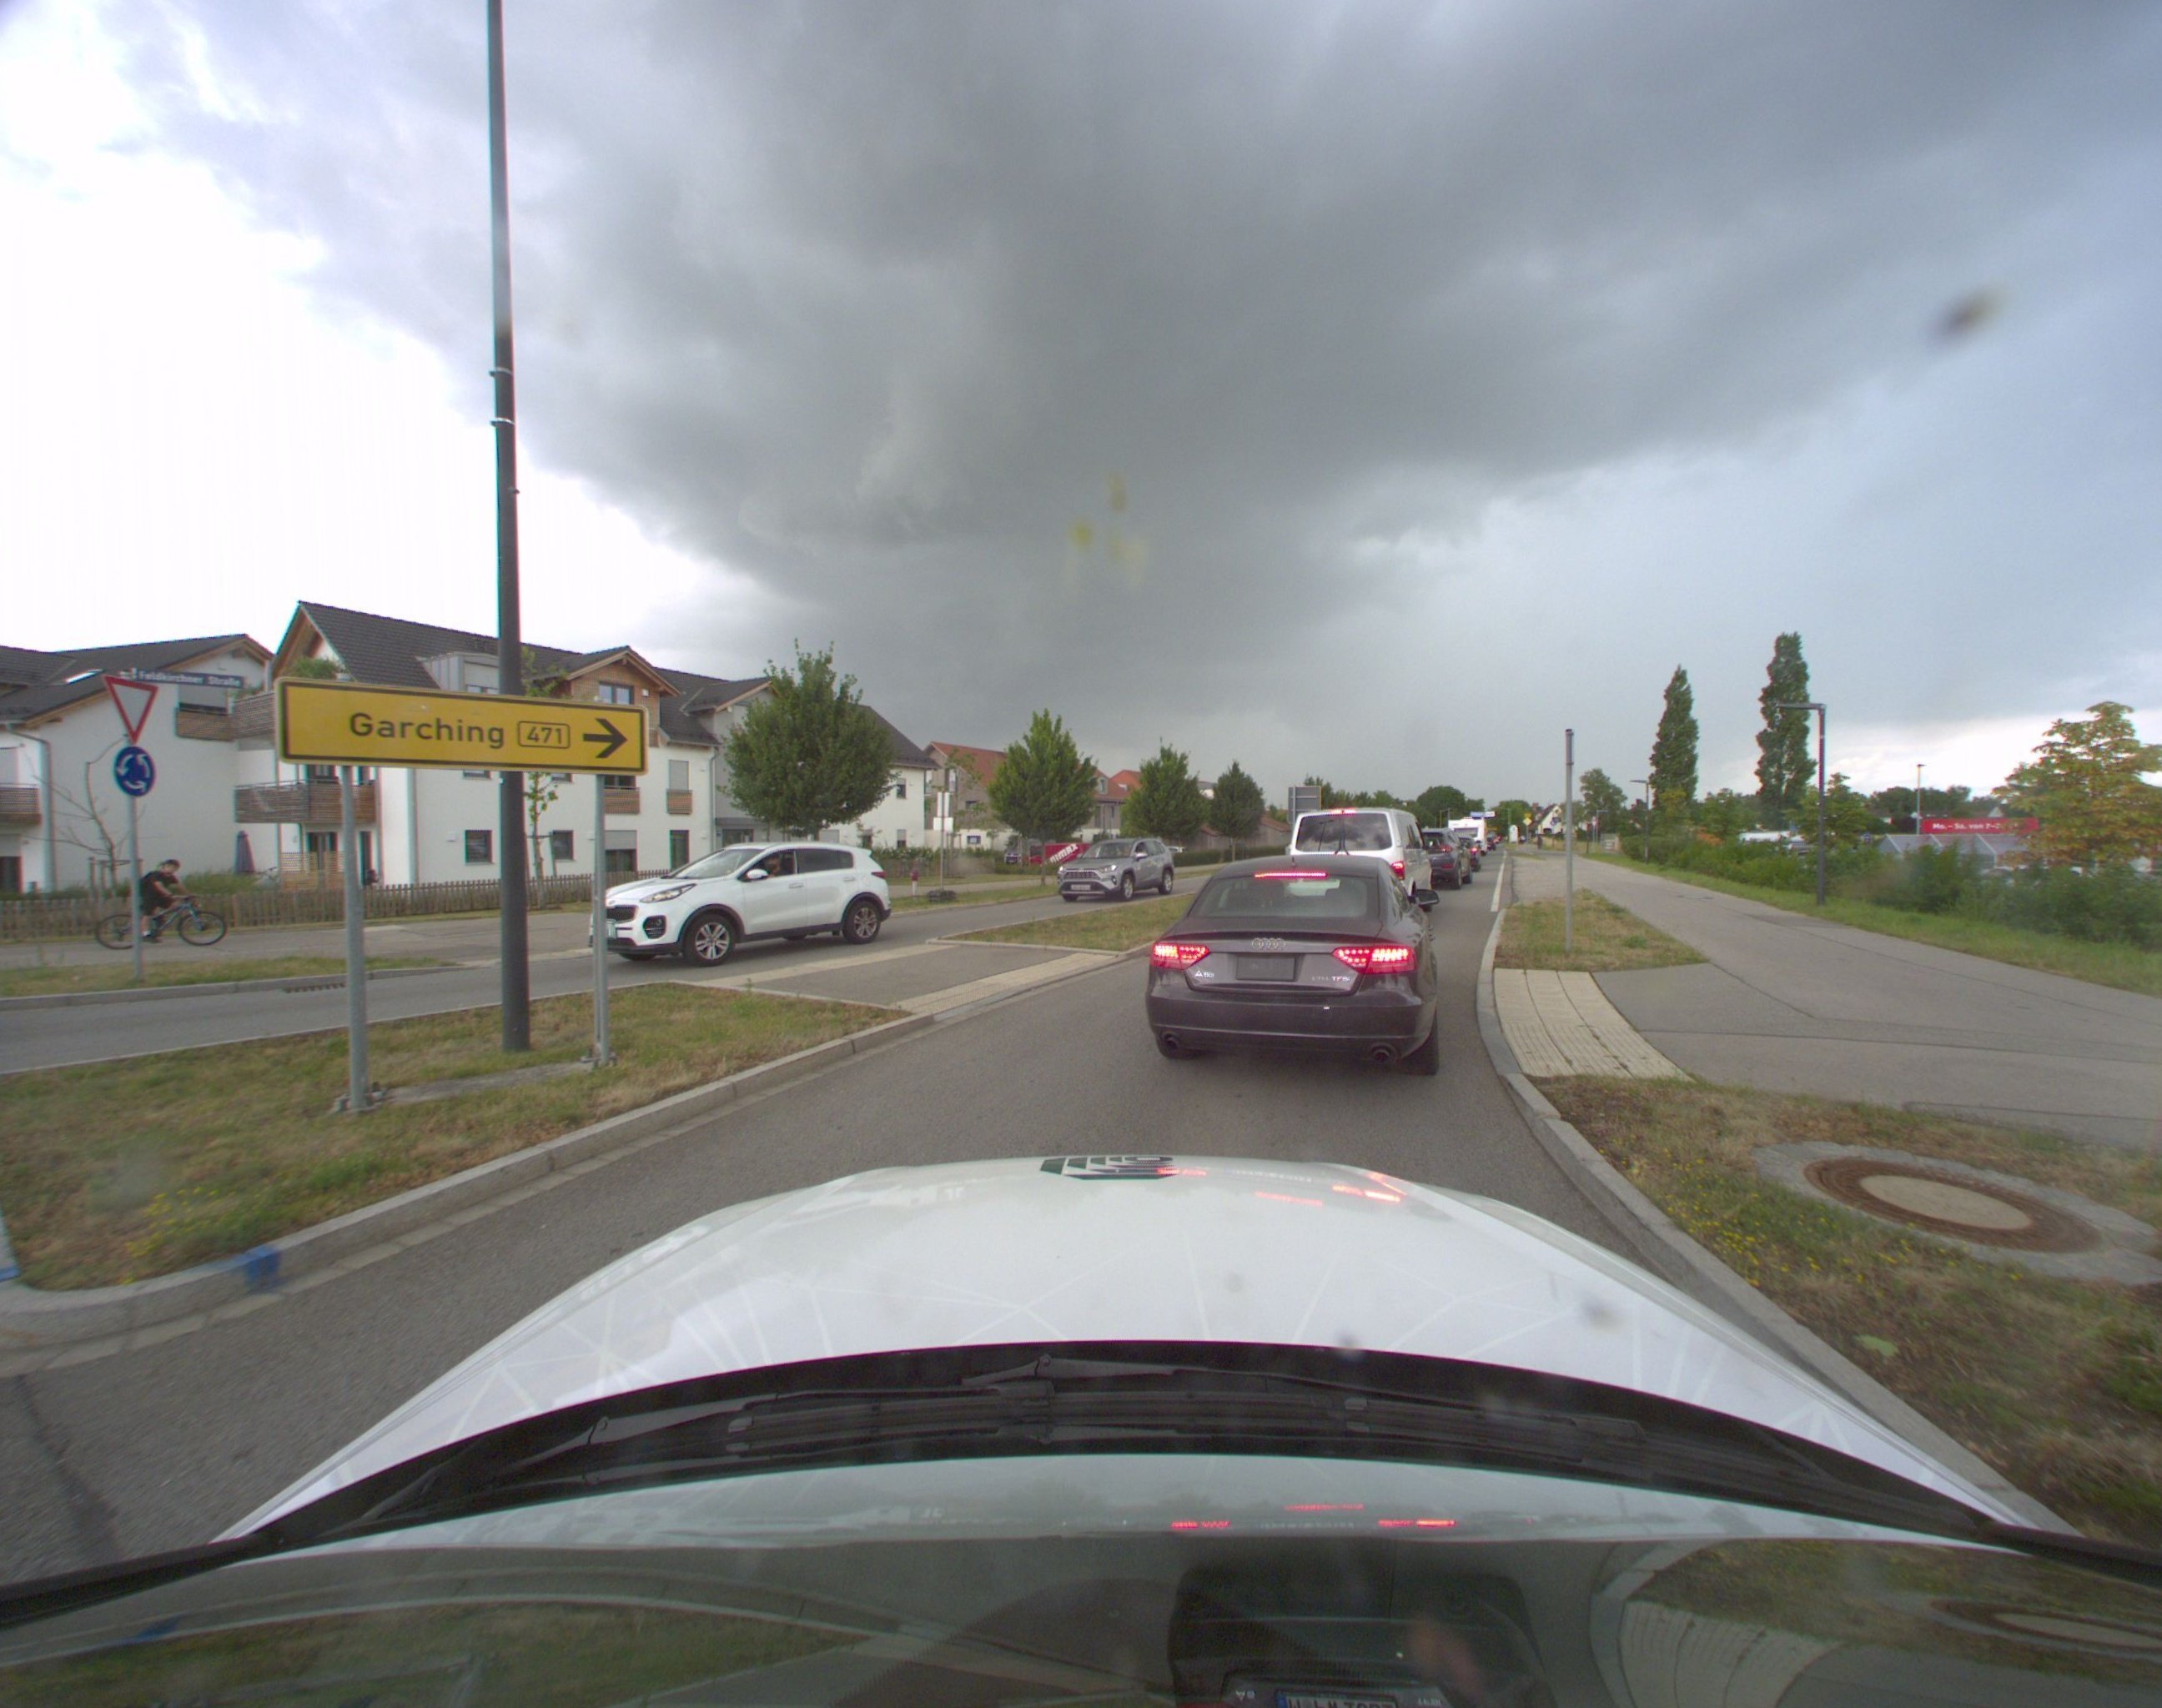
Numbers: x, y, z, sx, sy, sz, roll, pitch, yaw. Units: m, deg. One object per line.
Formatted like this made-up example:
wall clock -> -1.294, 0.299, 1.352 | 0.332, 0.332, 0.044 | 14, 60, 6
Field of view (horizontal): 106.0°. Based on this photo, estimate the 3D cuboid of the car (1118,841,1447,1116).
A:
car -> 1.889, 0.621, 6.421 | 1.768, 1.391, 4.156 | -1, 1, 24

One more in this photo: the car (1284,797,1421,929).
car -> 4.848, 0.092, 14.162 | 1.850, 1.934, 4.023 | 0, 1, 24

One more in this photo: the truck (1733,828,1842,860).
truck -> 44.066, -0.649, 50.924 | 4.754, 1.872, 2.011 | 1, 1, 23

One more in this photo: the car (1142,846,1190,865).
car -> 7.162, 0.092, 68.543 | 3.696, 1.481, 1.696 | 0, 1, 25

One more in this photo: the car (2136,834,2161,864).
car -> 75.120, -0.376, 55.973 | 1.974, 2.013, 4.026 | 0, 1, 34

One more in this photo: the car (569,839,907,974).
car -> -4.840, 0.614, 12.217 | 1.692, 1.626, 4.479 | -1, 1, 32

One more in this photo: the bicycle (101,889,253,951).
bicycle -> -15.997, 1.151, 14.465 | 1.718, 0.946, 0.493 | -2, 0, -28

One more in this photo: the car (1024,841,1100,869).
car -> -1.233, 0.045, 52.298 | 4.487, 1.679, 2.013 | 0, 1, 31

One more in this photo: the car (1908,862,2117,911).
car -> 31.090, 1.038, 27.387 | 4.193, 1.440, 2.012 | 0, 1, 28

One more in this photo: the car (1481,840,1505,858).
car -> 42.292, -0.496, 83.617 | 1.600, 1.793, 4.019 | 0, 1, 18

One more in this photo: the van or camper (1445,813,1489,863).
van or camper -> 27.622, -1.112, 58.192 | 2.600, 3.323, 6.862 | 0, 1, 27

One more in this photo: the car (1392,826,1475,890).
car -> 9.836, 0.053, 22.561 | 1.760, 1.618, 4.025 | 1, 1, 28

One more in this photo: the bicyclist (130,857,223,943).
bicyclist -> -16.023, 0.793, 14.454 | 0.871, 1.446, 0.718 | -2, 1, -28

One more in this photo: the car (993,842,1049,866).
car -> -4.541, -0.055, 62.394 | 1.974, 1.771, 4.494 | 0, 1, 33

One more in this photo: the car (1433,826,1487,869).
car -> 15.374, -0.252, 32.933 | 1.760, 1.618, 4.024 | -1, 0, 28

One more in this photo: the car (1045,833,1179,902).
car -> 0.996, 0.288, 22.516 | 1.975, 1.703, 4.662 | -1, 1, 26

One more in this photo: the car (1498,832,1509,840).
car -> 75.730, -3.165, 145.929 | 1.598, 1.408, 3.638 | 0, 1, 28

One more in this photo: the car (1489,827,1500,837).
car -> 96.570, -5.127, 190.271 | 1.974, 2.211, 4.026 | 0, 1, 32

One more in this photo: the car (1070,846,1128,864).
car -> 1.334, 0.046, 60.599 | 3.879, 1.315, 1.853 | 0, 1, 25
